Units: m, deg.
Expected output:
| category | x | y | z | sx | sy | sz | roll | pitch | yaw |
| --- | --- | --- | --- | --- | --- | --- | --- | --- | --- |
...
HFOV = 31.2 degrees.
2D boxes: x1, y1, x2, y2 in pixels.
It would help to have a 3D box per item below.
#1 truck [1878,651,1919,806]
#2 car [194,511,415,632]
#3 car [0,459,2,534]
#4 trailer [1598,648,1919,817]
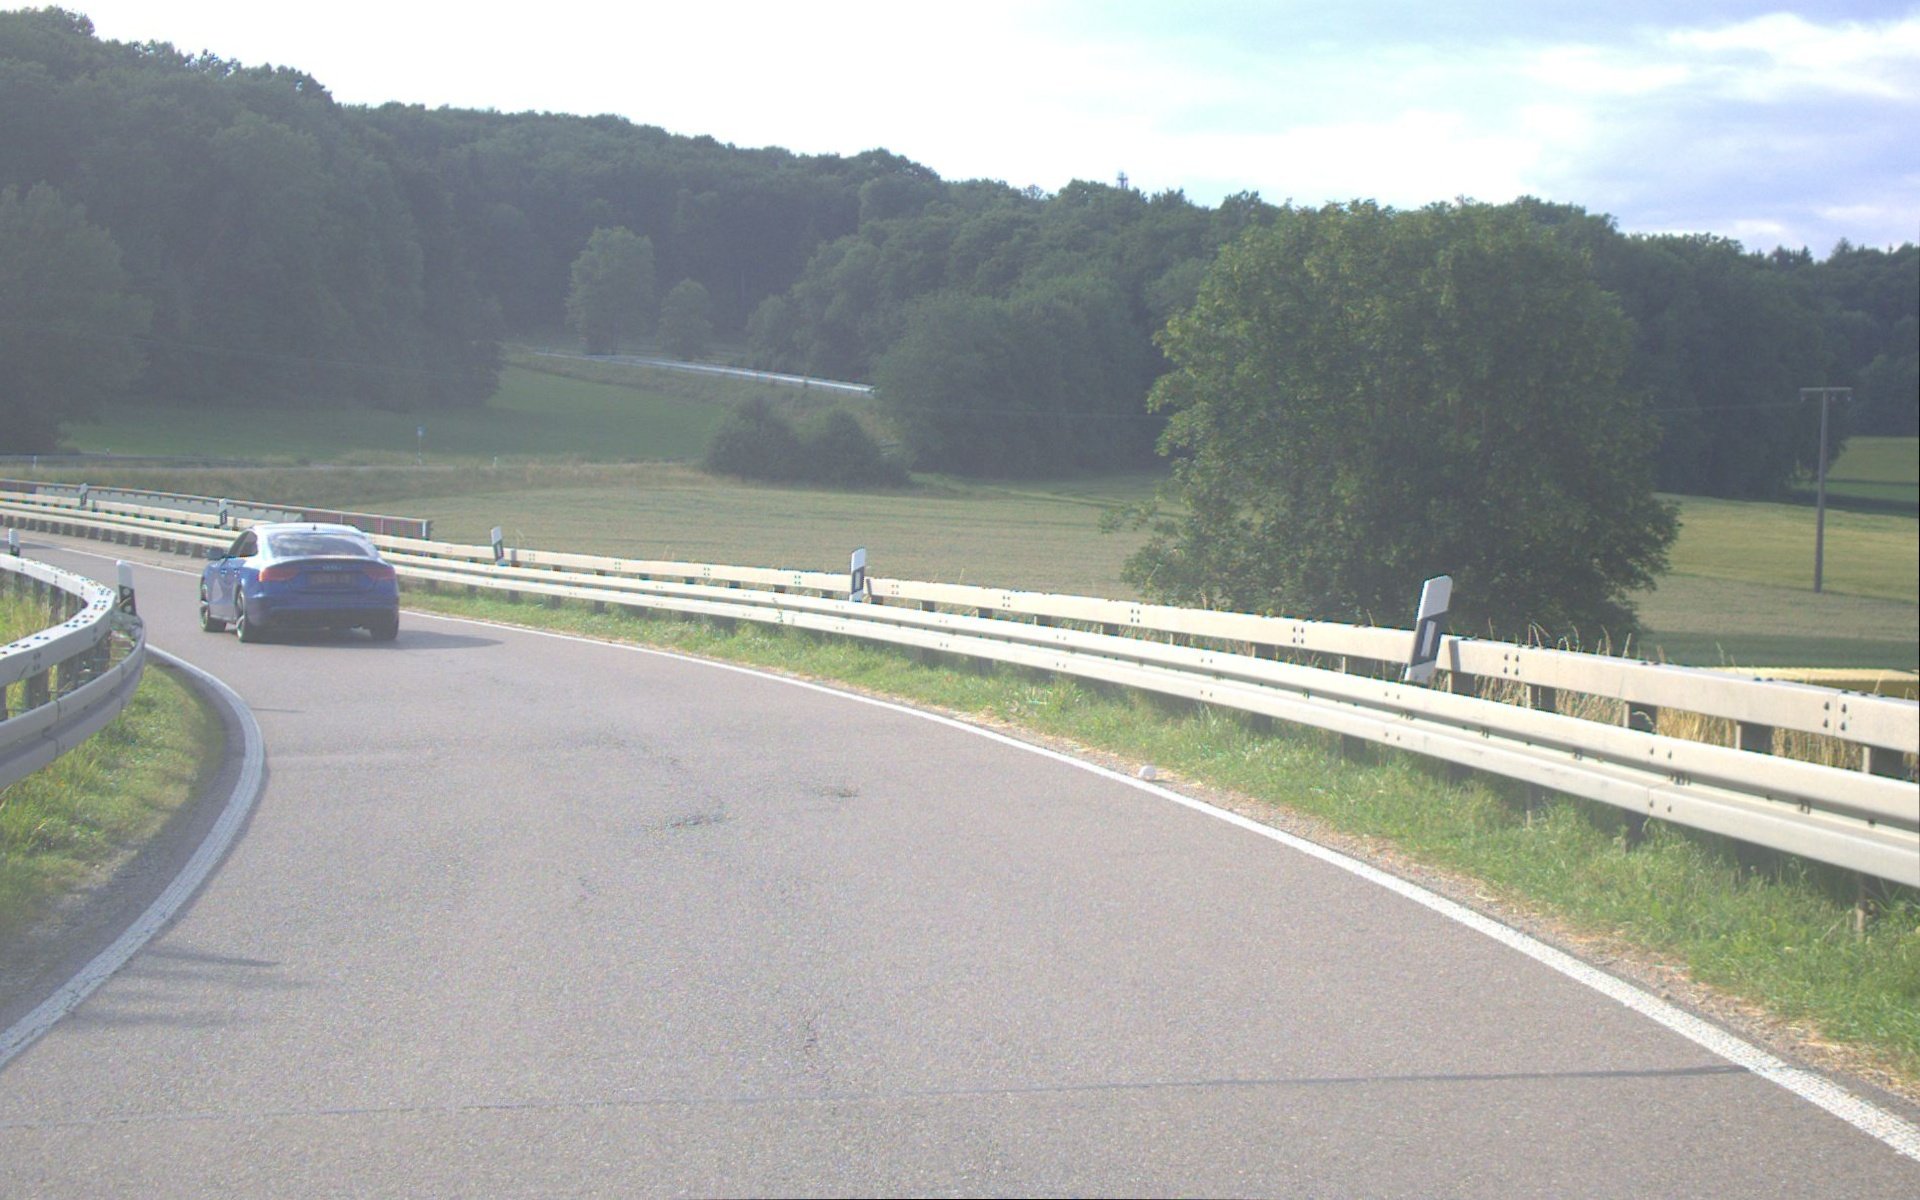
| category | x | y | z | sx | sy | sz | roll | pitch | yaw |
| --- | --- | --- | --- | --- | --- | --- | --- | --- | --- |
| truck | 29.816 | 3.475 | 92.133 | 9.767 | 4.046 | 3.838 | 1 | 0 | -24 |
| car | -7.914 | -0.382 | 41.207 | 1.818 | 1.334 | 4.351 | -1 | 2 | -21 |
| car | -21.803 | -2.251 | 72.998 | 1.861 | 1.563 | 4.001 | 1 | 2 | -30 |
| trailer | 21.321 | 3.346 | 88.253 | 9.097 | 4.046 | 3.838 | 1 | 0 | -24 |
